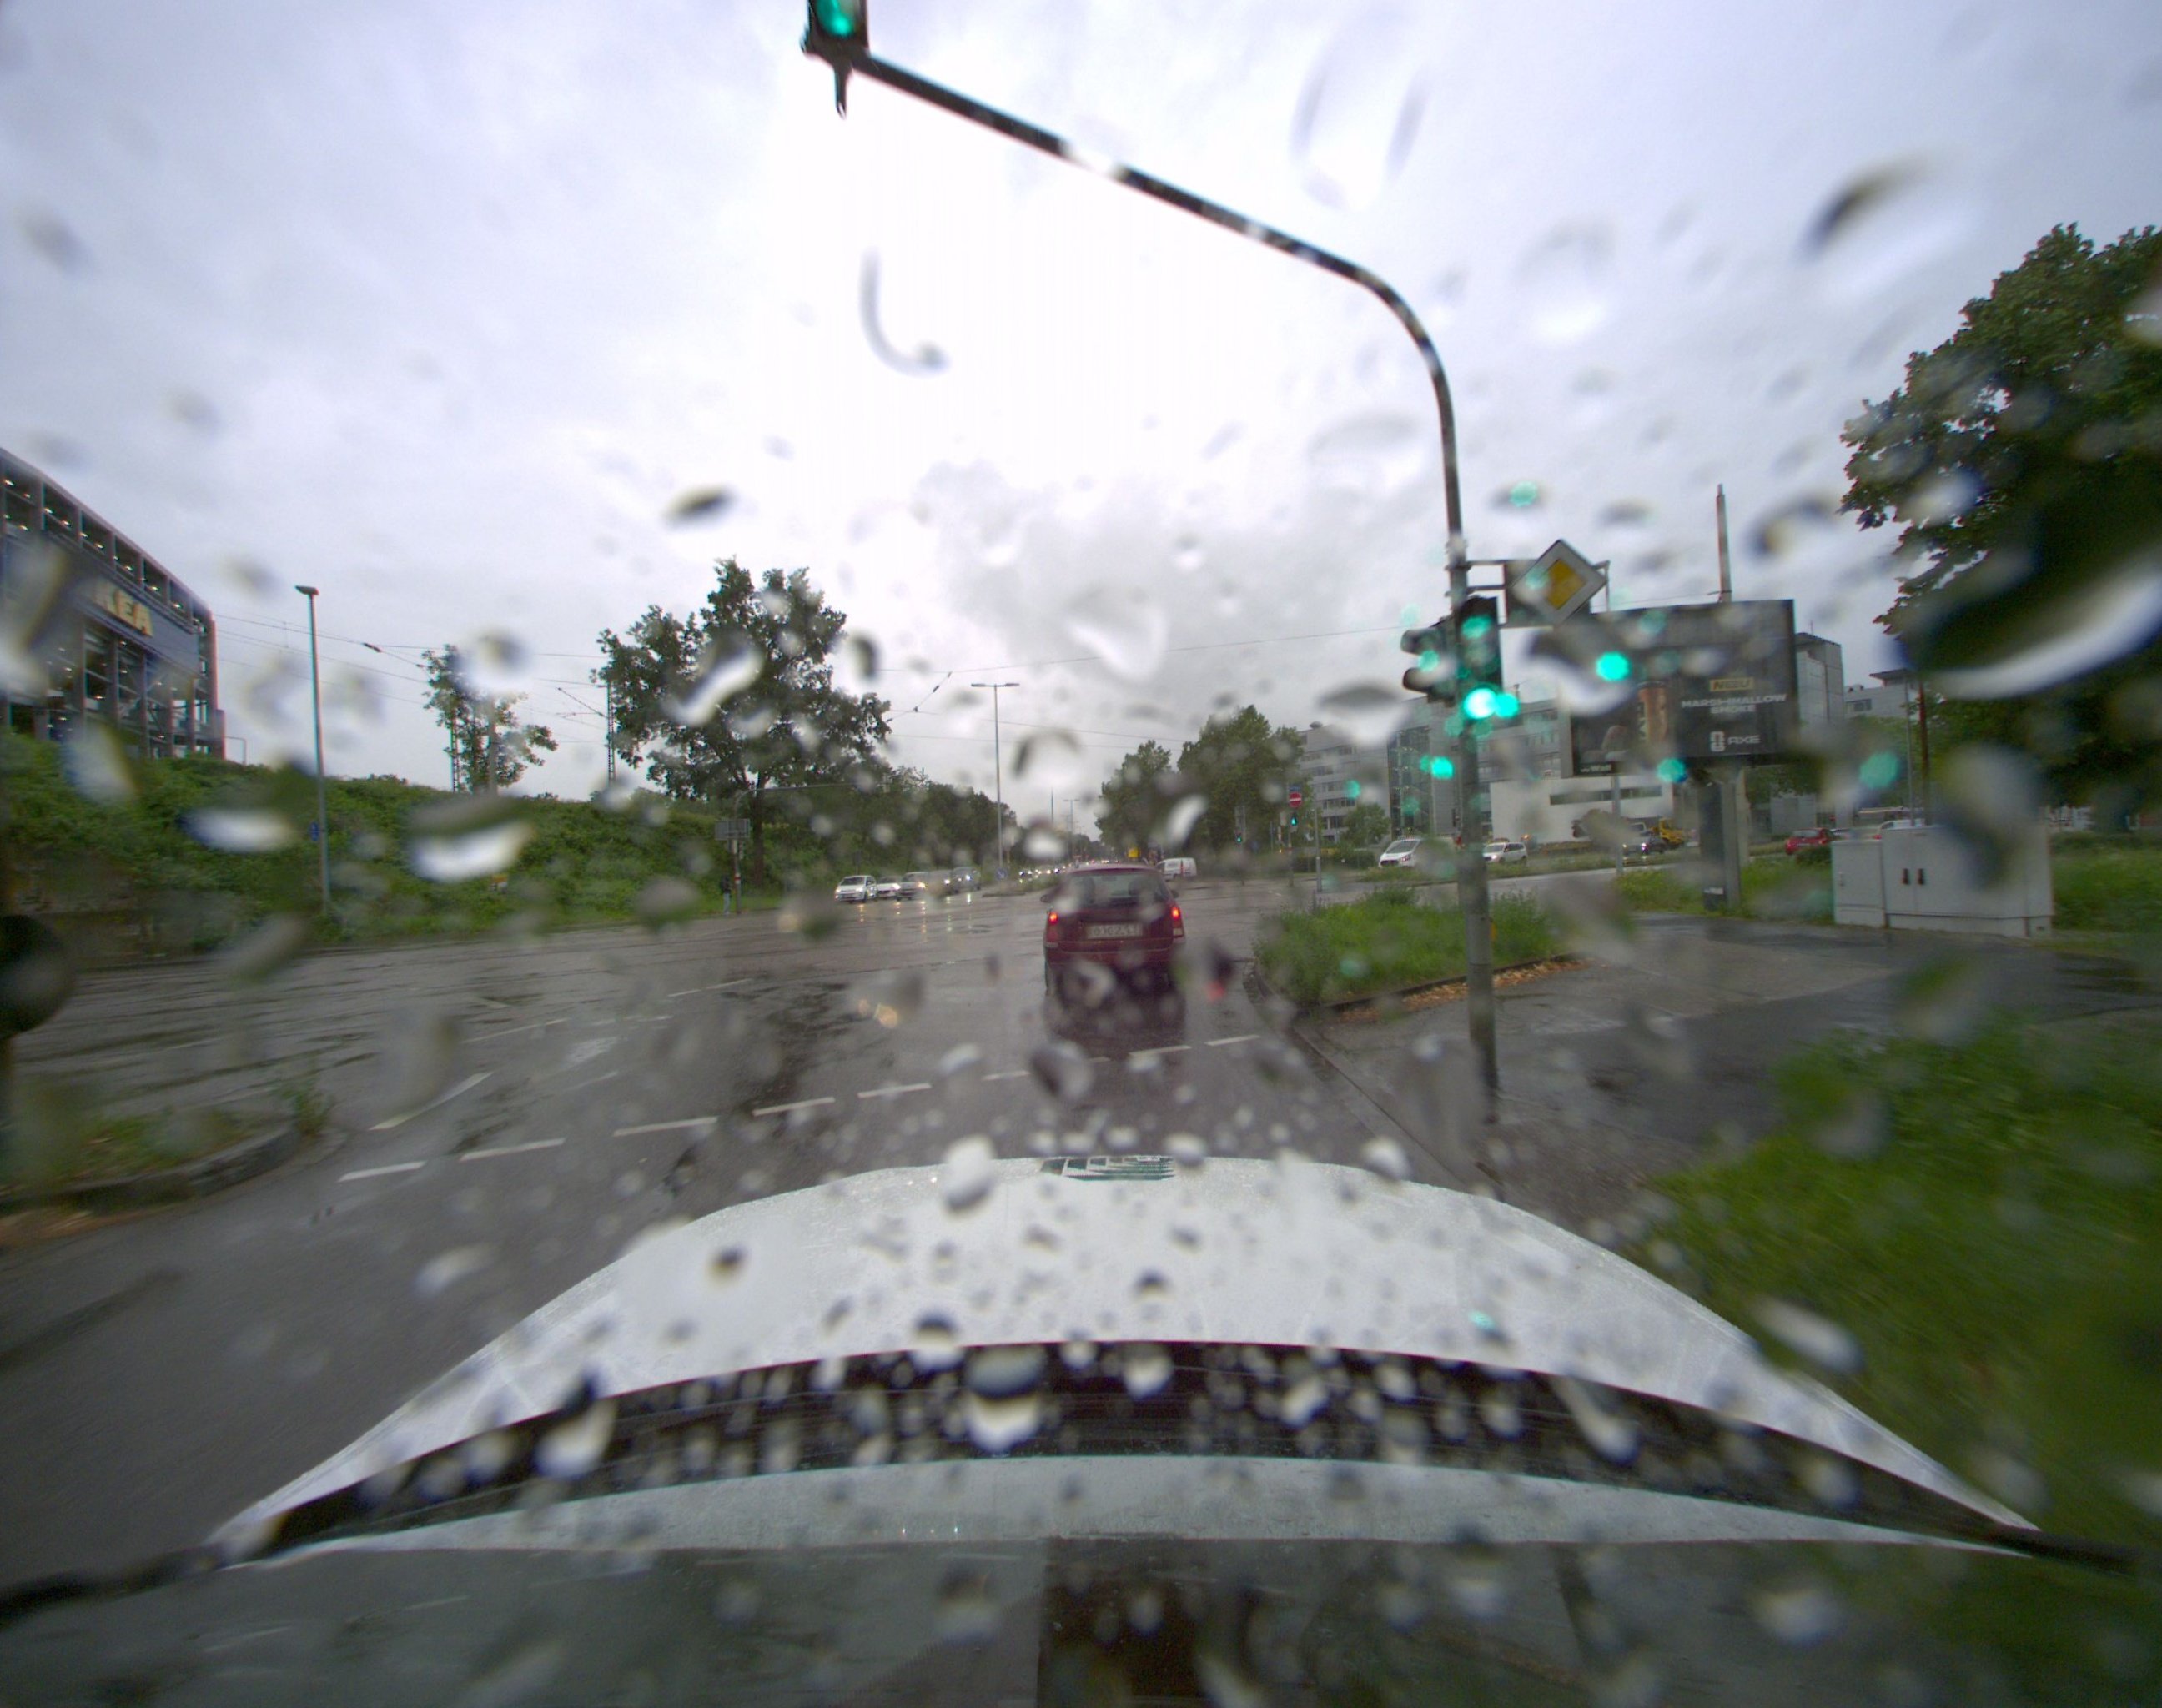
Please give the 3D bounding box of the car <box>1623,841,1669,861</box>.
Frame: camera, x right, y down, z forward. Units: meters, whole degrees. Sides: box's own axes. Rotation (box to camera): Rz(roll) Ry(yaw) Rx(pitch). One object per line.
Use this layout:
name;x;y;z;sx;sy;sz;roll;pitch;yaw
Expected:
car;47.322;-0.277;68.214;4.668;1.524;1.779;-2;-1;-38

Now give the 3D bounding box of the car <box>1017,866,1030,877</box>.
car;-8.996;2.712;127.546;1.737;1.702;4.284;0;-1;1

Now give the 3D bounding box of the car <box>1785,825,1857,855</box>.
car;39.162;-0.749;43.088;3.828;1.491;1.662;-1;-1;-30

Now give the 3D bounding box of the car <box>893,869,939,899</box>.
car;-9.064;1.634;45.046;1.632;1.473;3.965;-3;-1;1

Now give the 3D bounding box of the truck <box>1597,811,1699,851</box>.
truck;58.069;-2.327;83.652;3.341;3.507;7.807;-2;-1;-33

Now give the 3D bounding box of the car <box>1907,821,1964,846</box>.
car;59.851;-1.436;57.022;4.644;1.586;1.907;-2;-1;-34

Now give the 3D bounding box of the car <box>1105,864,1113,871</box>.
car;6.356;3.034;182.667;1.691;1.528;3.849;-3;-1;3

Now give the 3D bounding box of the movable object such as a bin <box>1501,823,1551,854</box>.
movable object such as a bin;46.839;-1.638;85.762;3.342;2.996;3.296;-2;-1;-34

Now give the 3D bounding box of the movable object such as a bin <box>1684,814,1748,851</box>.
movable object such as a bin;66.957;-2.285;85.874;6.346;3.507;3.293;-2;-1;-33

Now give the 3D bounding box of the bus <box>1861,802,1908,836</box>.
bus;80.319;-3.449;81.342;8.574;3.036;2.498;-2;-2;-41

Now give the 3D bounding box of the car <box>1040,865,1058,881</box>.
car;-3.894;2.325;99.853;1.737;1.702;4.284;-4;-1;1

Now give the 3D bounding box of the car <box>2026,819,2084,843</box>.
car;68.011;-1.598;56.828;4.847;1.491;1.908;-2;-2;-32

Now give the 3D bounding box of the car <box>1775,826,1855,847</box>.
car;65.788;-1.499;73.098;1.886;1.655;5.012;1;-2;-29

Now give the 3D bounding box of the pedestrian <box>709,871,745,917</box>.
pedestrian;-15.117;1.693;34.801;1.102;1.847;1.127;-2;-1;-10

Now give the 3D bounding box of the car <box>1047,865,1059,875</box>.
car;-5.094;2.835;147.535;1.956;1.702;4.284;-3;-1;1

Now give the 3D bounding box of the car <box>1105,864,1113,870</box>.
car;7.614;3.564;219.023;1.662;1.528;3.853;-3;-1;7

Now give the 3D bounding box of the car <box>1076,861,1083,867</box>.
car;-0.413;3.054;243.389;1.955;1.597;4.286;-3;-1;2

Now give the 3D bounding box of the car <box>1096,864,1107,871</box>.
car;4.456;2.928;176.530;2.138;1.528;4.197;-3;-1;4

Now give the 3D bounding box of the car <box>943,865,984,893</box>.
car;-8.635;1.814;60.319;2.058;1.819;5.542;-3;-1;1

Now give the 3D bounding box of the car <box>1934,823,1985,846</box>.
car;67.123;-1.522;62.210;4.645;1.586;1.906;-1;-2;-35

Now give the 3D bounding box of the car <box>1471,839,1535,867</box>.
car;27.614;-0.074;53.291;4.400;1.621;1.757;-2;-1;-34

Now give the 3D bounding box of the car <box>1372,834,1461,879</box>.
car;17.383;0.119;42.135;4.709;2.125;1.978;-2;-2;-35

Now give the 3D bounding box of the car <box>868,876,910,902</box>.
car;-11.863;2.131;50.460;1.585;1.404;3.823;-3;-1;1

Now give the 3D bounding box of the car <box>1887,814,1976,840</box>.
car;74.217;-2.336;71.221;2.011;2.014;5.298;1;-2;-45

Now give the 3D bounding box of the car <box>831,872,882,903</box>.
car;-12.117;1.789;44.132;1.633;1.452;3.786;-3;-1;0

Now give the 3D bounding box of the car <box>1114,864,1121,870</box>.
car;9.604;3.420;212.719;1.664;1.528;3.849;-3;-1;3

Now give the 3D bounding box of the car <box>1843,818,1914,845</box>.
car;47.807;-1.347;48.809;4.847;1.491;1.908;-2;-2;-32

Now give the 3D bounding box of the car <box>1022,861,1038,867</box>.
car;-14.583;2.869;232.743;4.301;1.597;1.948;-2;-1;-34

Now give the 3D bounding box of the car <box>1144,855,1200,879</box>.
car;6.910;1.008;62.274;1.750;1.726;4.194;0;-1;-40

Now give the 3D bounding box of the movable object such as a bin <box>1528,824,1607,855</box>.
movable object such as a bin;53.905;-1.575;90.446;3.342;2.996;6.650;-2;-1;-34

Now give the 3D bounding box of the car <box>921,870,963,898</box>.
car;-8.819;1.885;52.031;1.756;1.586;4.813;-3;-1;1

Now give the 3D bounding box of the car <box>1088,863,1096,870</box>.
car;2.580;3.002;190.956;1.690;1.528;3.849;-3;-1;4

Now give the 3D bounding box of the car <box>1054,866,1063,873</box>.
car;-5.501;3.882;202.533;1.956;1.597;4.284;-3;-1;1

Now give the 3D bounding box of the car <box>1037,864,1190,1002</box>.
car;0.391;0.875;10.660;1.636;1.465;3.733;0;-1;1
